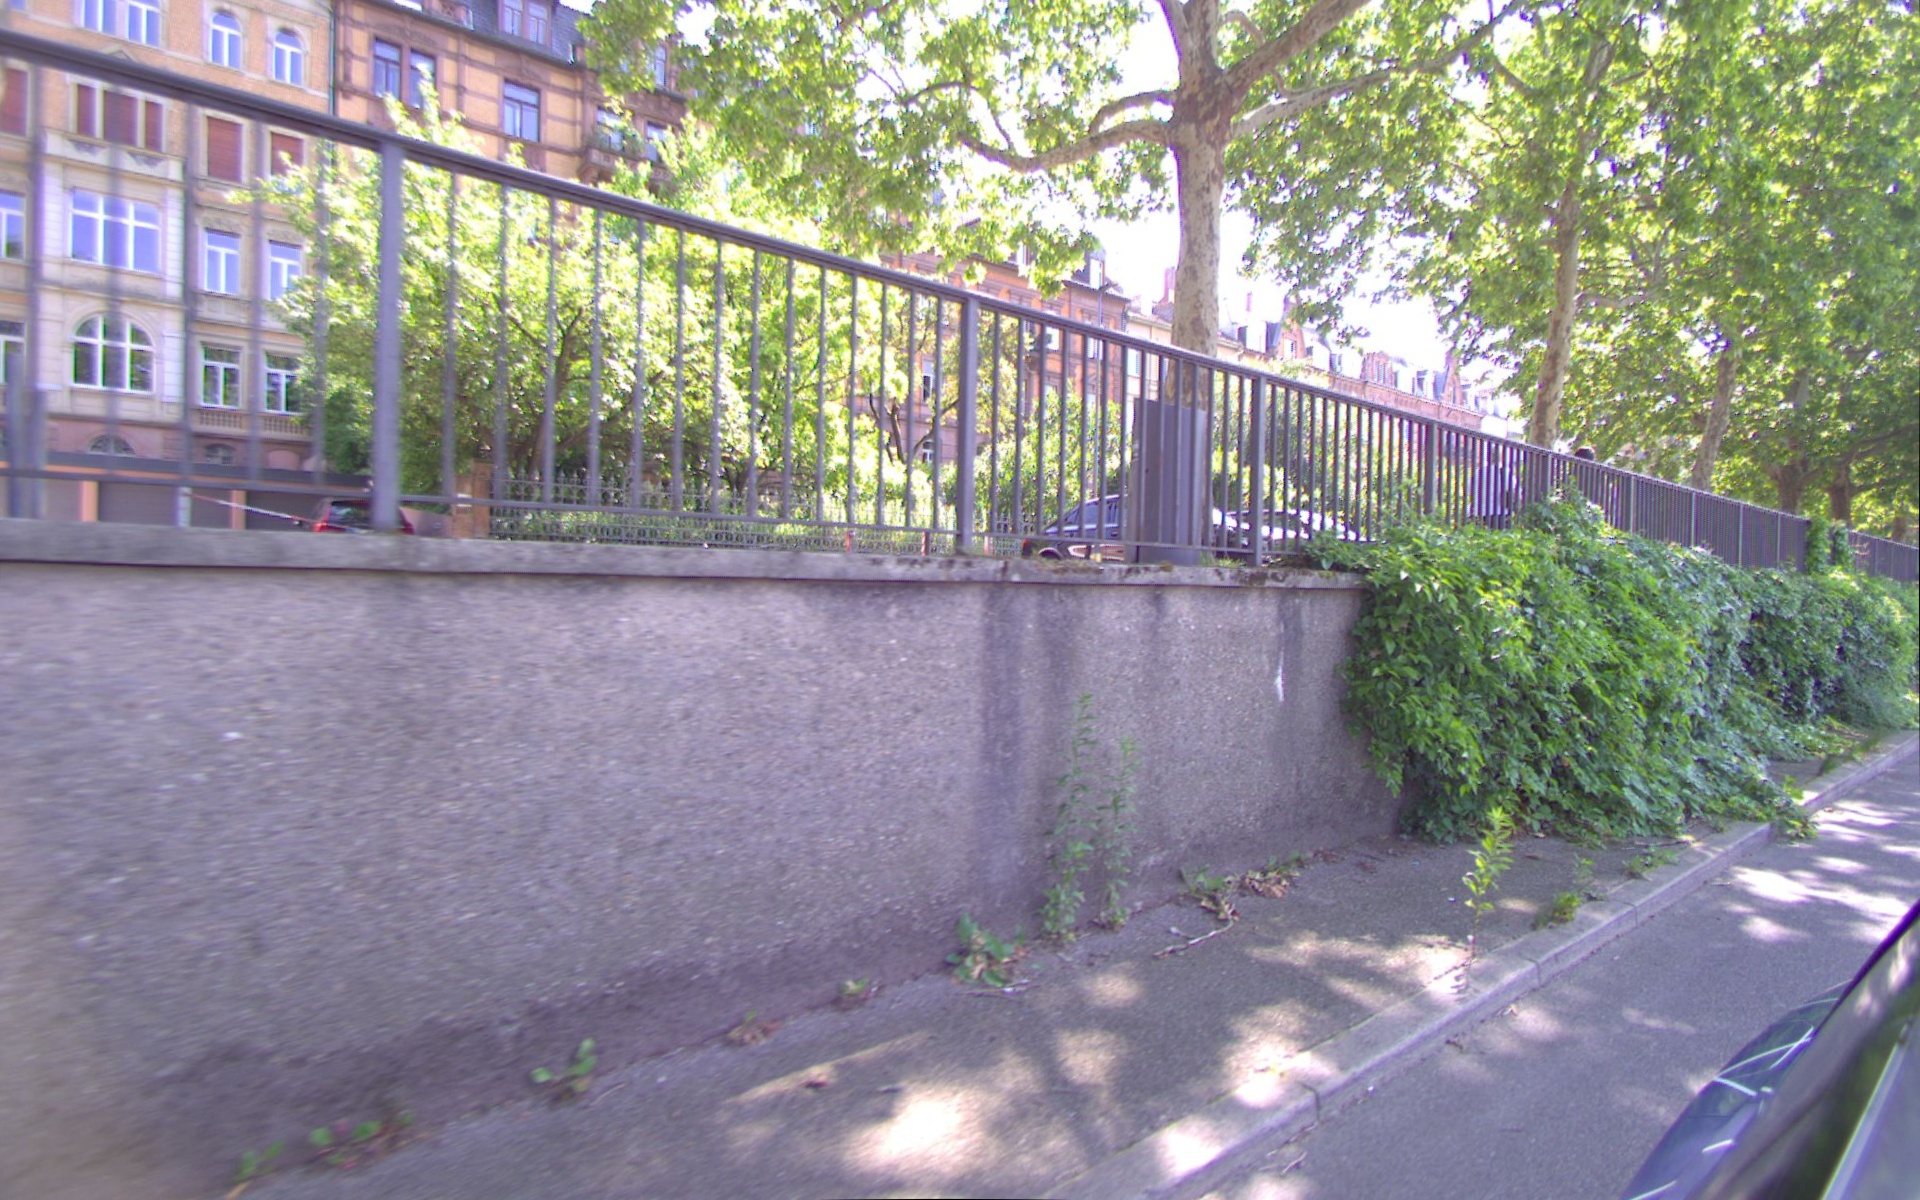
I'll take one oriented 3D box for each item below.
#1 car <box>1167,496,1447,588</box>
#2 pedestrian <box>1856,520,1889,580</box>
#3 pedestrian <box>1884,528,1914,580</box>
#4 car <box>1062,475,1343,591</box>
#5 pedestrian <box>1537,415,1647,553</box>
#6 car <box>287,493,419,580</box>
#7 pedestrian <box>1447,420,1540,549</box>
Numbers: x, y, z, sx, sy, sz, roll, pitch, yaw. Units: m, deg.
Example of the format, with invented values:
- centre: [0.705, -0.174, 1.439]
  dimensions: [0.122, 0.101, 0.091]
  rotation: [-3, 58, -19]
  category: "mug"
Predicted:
- centre: [5.292, -0.926, 15.693]
  dimensions: [3.724, 1.250, 1.649]
  rotation: [5, 3, 42]
  category: "car"
- centre: [25.710, -1.407, 28.532]
  dimensions: [0.646, 1.660, 0.617]
  rotation: [2, 1, 42]
  category: "pedestrian"
- centre: [26.182, -1.280, 28.231]
  dimensions: [0.584, 1.437, 0.580]
  rotation: [2, 1, 42]
  category: "pedestrian"
- centre: [2.998, -0.865, 13.183]
  dimensions: [1.484, 1.250, 3.540]
  rotation: [1, 3, -30]
  category: "car"
- centre: [6.820, -1.226, 10.926]
  dimensions: [0.800, 1.382, 0.754]
  rotation: [1, 3, -42]
  category: "pedestrian"
- centre: [-12.495, -1.223, 20.732]
  dimensions: [1.759, 1.556, 3.792]
  rotation: [1, 0, -40]
  category: "car"
- centre: [6.110, -1.299, 11.587]
  dimensions: [0.781, 1.382, 0.645]
  rotation: [1, 3, -42]
  category: "pedestrian"
